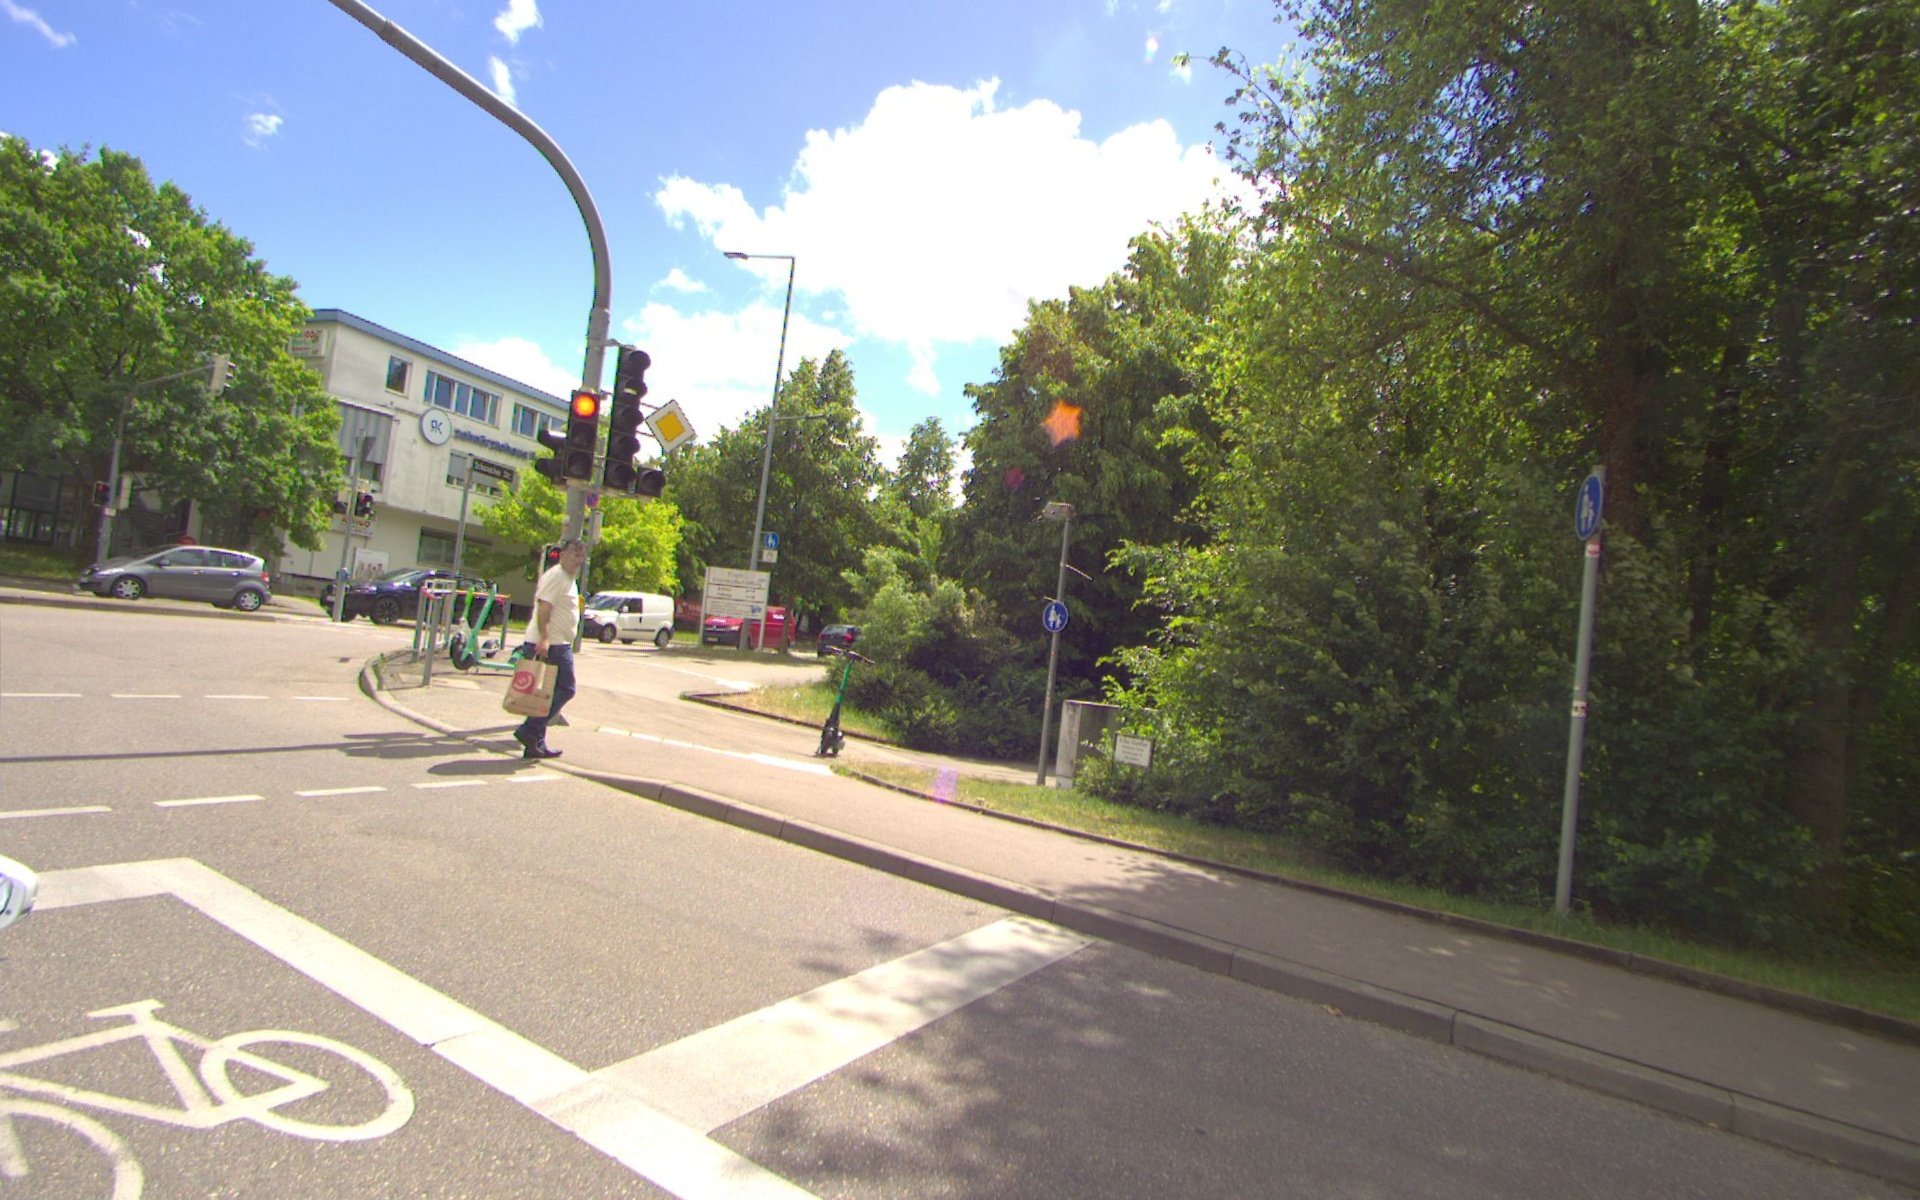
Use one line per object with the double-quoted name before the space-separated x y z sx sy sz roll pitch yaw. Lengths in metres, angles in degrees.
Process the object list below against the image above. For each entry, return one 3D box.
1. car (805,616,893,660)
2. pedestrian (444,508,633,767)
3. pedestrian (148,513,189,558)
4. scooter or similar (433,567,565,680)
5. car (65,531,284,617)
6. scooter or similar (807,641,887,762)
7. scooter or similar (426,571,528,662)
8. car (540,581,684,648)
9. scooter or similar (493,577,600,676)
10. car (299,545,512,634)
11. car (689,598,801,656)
"car" -4.377 1.560 40.166 1.726 1.504 4.001 4 -2 22
"pedestrian" -3.233 0.294 7.765 0.729 1.829 0.871 7 -1 28
"pedestrian" -32.212 -2.617 40.943 0.890 1.662 0.771 7 -1 18
"scooter or similar" -5.934 0.326 13.002 0.455 1.292 1.344 8 -1 38
"car" -20.088 -0.633 25.886 1.967 1.573 3.915 6 -2 32
"scooter or similar" -1.396 1.242 12.267 0.706 1.287 1.243 10 -7 -8
"scooter or similar" -7.004 0.275 14.662 0.533 1.168 1.362 9 -3 7
"car" -11.743 0.548 34.314 1.963 1.737 4.576 7 -2 22
"scooter or similar" -5.989 0.407 14.635 0.547 1.254 1.231 8 -3 23
"car" -14.693 -0.213 26.981 1.964 1.737 4.574 7 -2 25
"car" -8.672 1.143 41.152 1.964 1.885 4.822 5 -3 22
